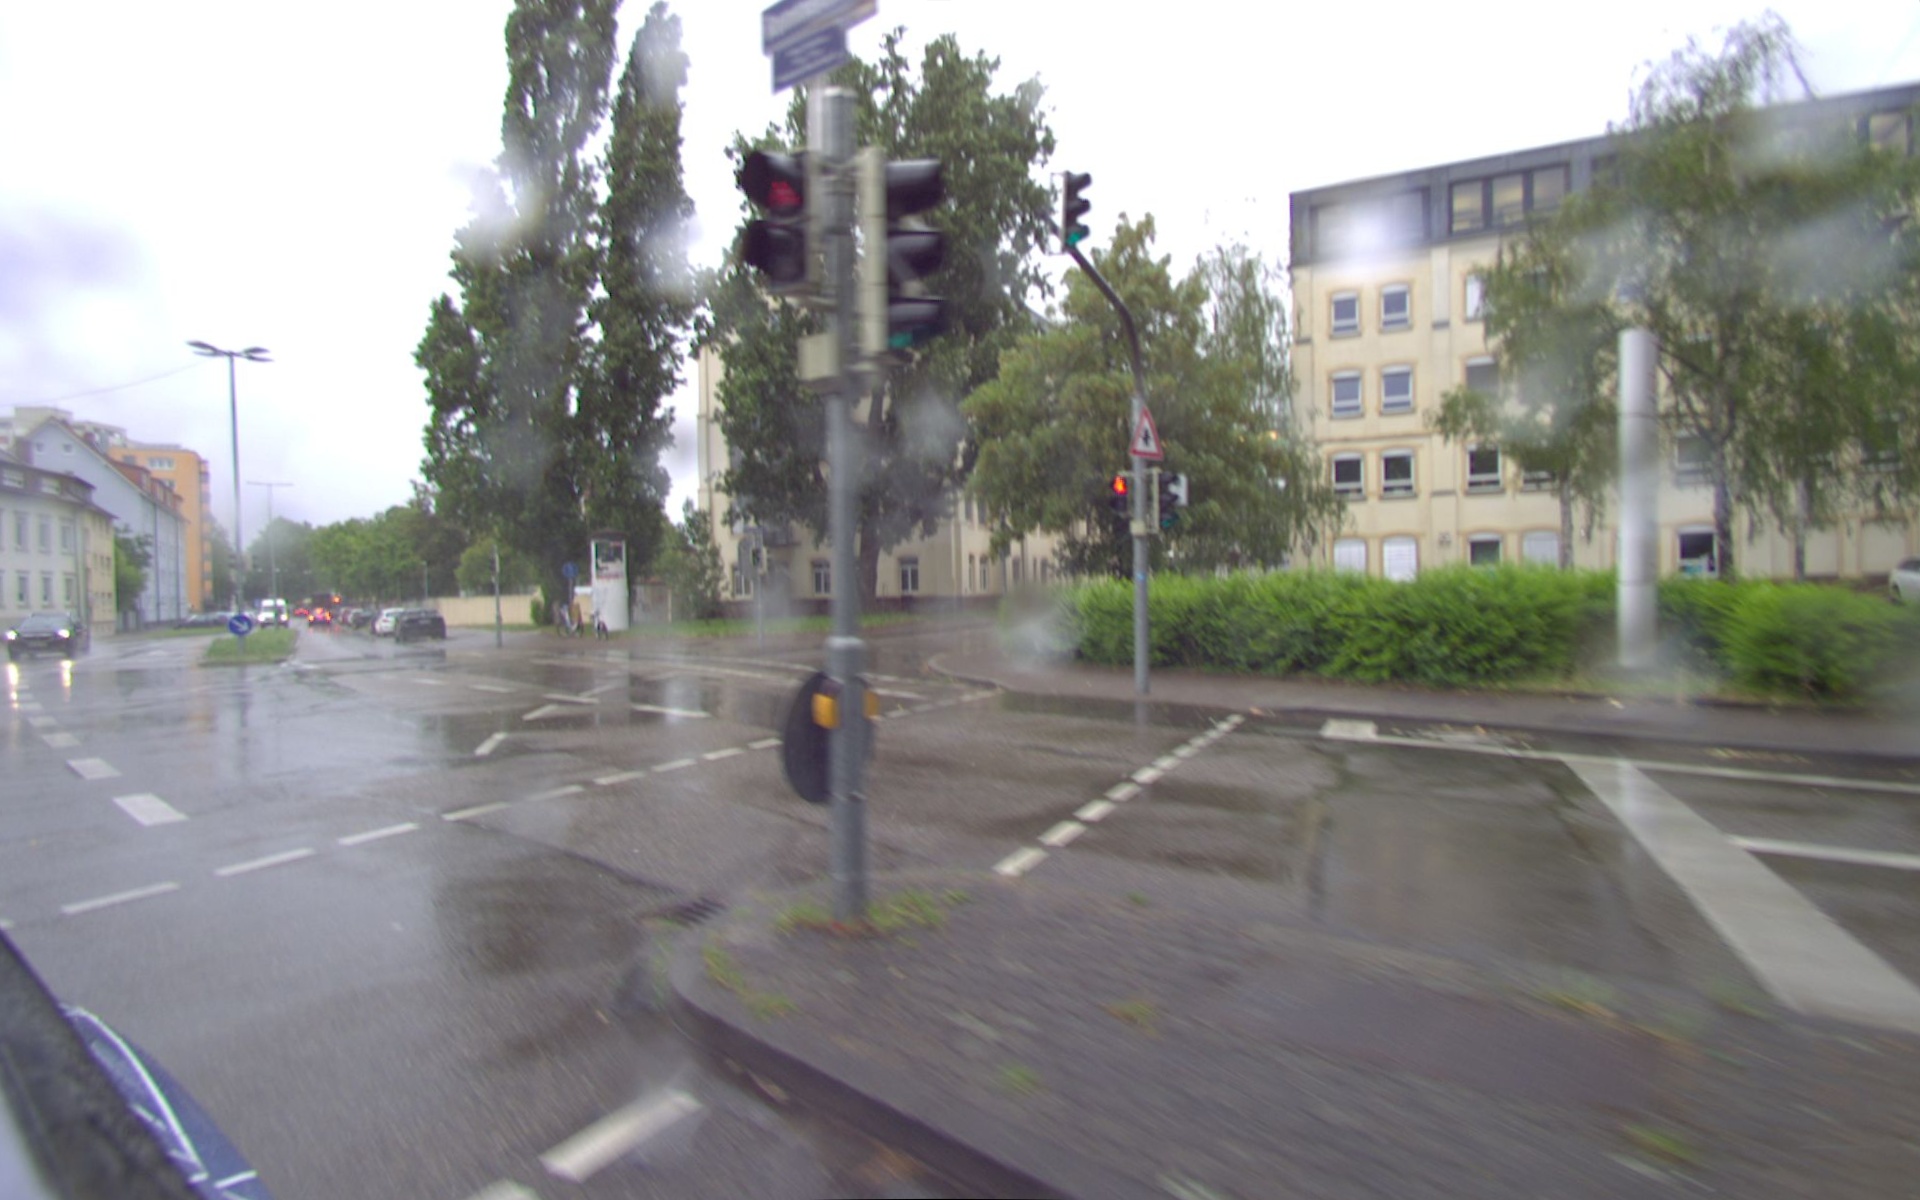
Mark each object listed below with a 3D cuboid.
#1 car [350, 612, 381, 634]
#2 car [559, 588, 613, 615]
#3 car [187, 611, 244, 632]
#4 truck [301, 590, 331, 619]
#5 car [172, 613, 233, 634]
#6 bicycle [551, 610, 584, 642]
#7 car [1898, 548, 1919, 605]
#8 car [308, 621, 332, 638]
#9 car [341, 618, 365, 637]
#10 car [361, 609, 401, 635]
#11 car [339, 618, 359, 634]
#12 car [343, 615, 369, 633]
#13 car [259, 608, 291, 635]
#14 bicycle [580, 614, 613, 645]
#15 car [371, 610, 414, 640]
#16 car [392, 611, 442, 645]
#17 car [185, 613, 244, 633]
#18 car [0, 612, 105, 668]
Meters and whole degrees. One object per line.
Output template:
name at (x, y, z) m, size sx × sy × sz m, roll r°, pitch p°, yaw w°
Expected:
car at (-42.746, 1.627, 72.772) m, size 1.673 × 1.456 × 4.108 m, roll -3°, pitch 2°, yaw -33°
car at (-35.109, 0.124, 94.878) m, size 4.698 × 2.414 × 2.130 m, roll -1°, pitch 1°, yaw 28°
car at (-66.010, 1.888, 89.788) m, size 3.860 × 1.627 × 1.697 m, roll -3°, pitch 1°, yaw -31°
truck at (-104.245, 0.754, 163.930) m, size 3.771 × 4.417 × 10.817 m, roll -3°, pitch 1°, yaw -32°
car at (-60.852, 1.919, 81.371) m, size 3.700 × 1.465 × 1.806 m, roll -3°, pitch -1°, yaw -32°
bicycle at (-15.307, 1.013, 39.439) m, size 0.688 × 1.195 × 1.627 m, roll -3°, pitch 1°, yaw -39°
car at (26.411, -0.630, 26.188) m, size 1.989 × 1.530 × 3.965 m, roll -1°, pitch 0°, yaw 26°
car at (-59.163, 2.717, 93.566) m, size 1.703 × 1.404 × 3.961 m, roll 1°, pitch -1°, yaw -34°
car at (-58.244, 2.640, 97.128) m, size 1.603 × 1.610 × 3.807 m, roll -3°, pitch 1°, yaw -35°
car at (-34.614, 1.280, 60.450) m, size 1.704 × 1.393 × 4.191 m, roll -4°, pitch 2°, yaw -34°
car at (-61.278, 2.579, 101.512) m, size 1.667 × 1.464 × 3.729 m, roll -3°, pitch 1°, yaw -31°
car at (-53.804, 2.119, 90.148) m, size 1.750 × 1.471 × 4.693 m, roll -3°, pitch 1°, yaw -33°
car at (-61.959, 1.898, 91.589) m, size 2.159 × 2.272 × 4.898 m, roll -3°, pitch 1°, yaw -32°
bicycle at (-13.280, 1.054, 36.922) m, size 0.548 × 1.085 × 1.799 m, roll -3°, pitch 1°, yaw -38°
car at (-31.317, 1.366, 55.772) m, size 1.581 × 1.485 × 4.132 m, roll -3°, pitch 1°, yaw -36°
car at (-24.977, 1.250, 46.482) m, size 1.524 × 1.407 × 4.205 m, roll -4°, pitch 2°, yaw -34°
car at (-64.599, 1.939, 87.767) m, size 3.860 × 1.491 × 1.862 m, roll -3°, pitch 1°, yaw -31°
car at (-31.058, 1.312, 34.717) m, size 1.802 × 1.641 × 4.013 m, roll -2°, pitch 1°, yaw -28°
